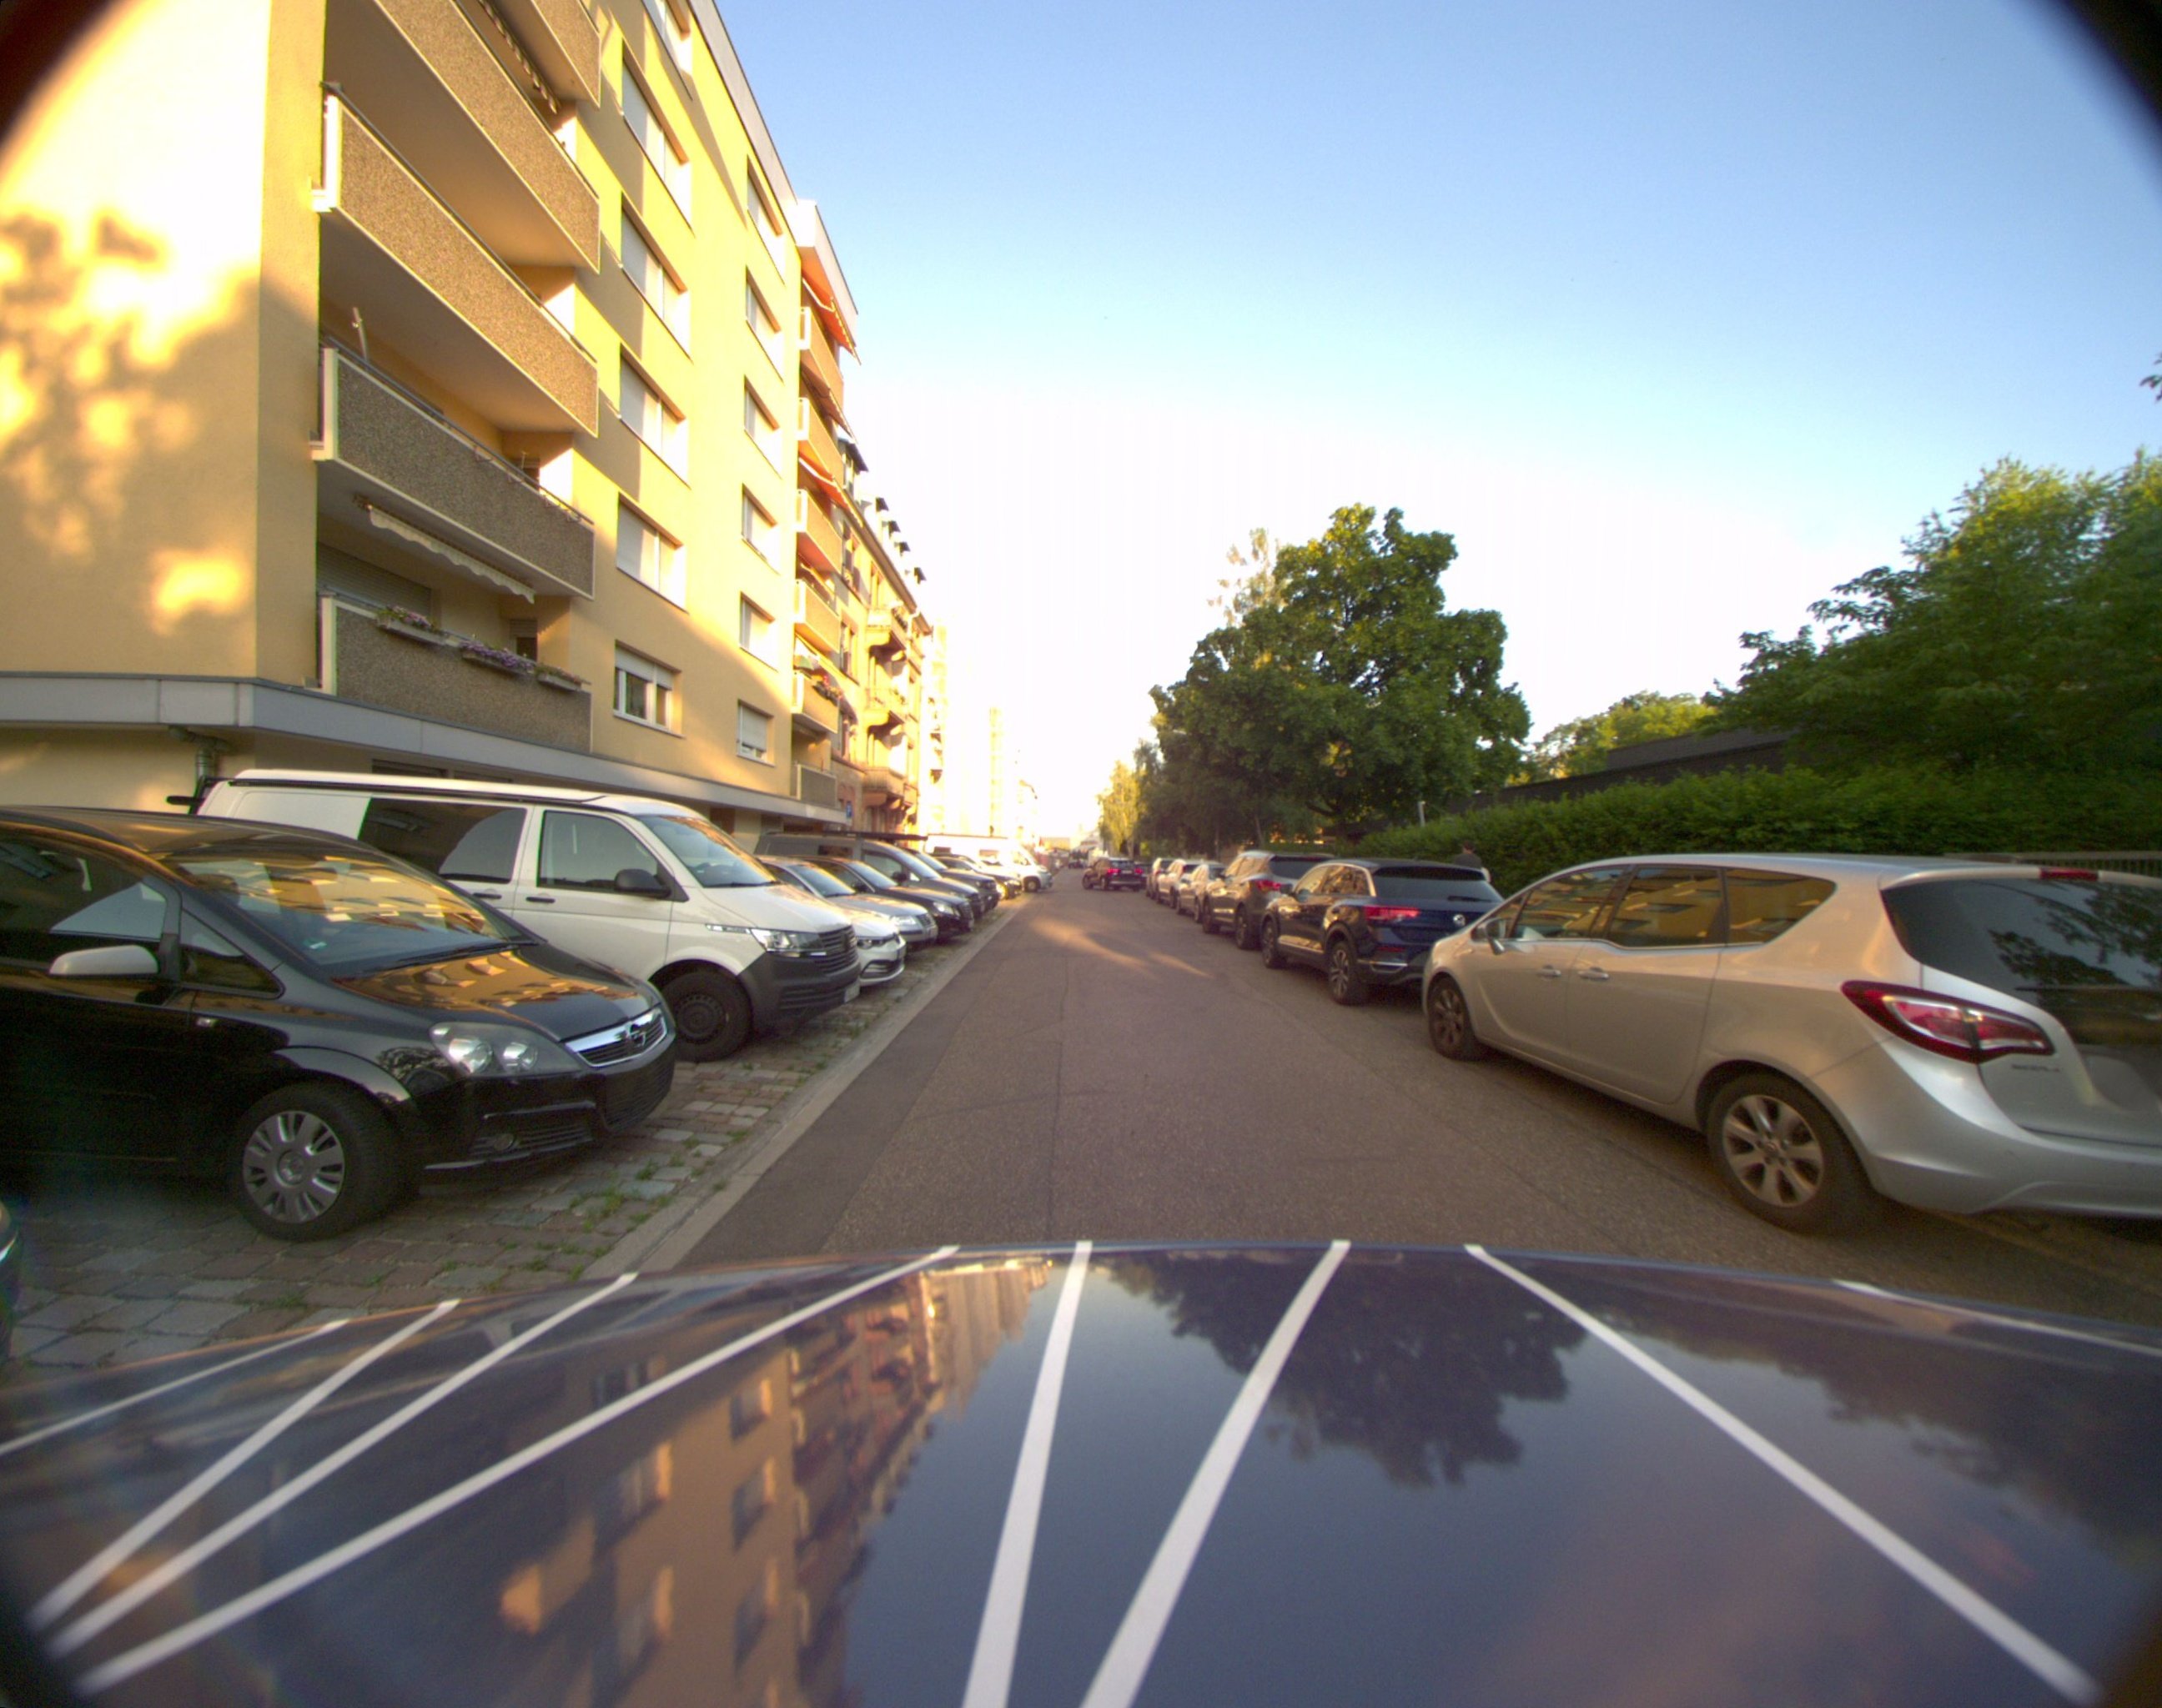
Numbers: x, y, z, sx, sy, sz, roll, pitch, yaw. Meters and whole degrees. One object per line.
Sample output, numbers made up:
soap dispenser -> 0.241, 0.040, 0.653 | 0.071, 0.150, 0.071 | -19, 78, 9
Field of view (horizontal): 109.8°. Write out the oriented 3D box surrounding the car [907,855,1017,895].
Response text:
car -> -5.083, 0.871, 32.758 | 4.414, 1.610, 1.845 | 0, 2, 1

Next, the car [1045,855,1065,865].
car -> -5.190, 1.132, 150.748 | 3.997, 2.002, 2.000 | 0, 0, -1

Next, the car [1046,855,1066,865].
car -> -5.033, 1.126, 153.176 | 3.997, 2.002, 2.000 | 0, 0, -1

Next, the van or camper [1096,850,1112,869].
van or camper -> 3.111, 0.730, 101.501 | 1.825, 2.400, 4.291 | 2, 0, -1

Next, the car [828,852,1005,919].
car -> -4.451, 0.825, 20.954 | 4.414, 1.545, 1.845 | 2, 2, 2

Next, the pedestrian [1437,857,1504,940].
pedestrian -> 7.364, 0.820, 14.401 | 0.750, 1.499, 0.901 | -2, 0, -2

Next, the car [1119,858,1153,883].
car -> 3.354, 1.011, 47.053 | 1.738, 1.438, 3.805 | 2, 0, 0

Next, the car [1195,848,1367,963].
car -> 3.425, 0.807, 13.891 | 1.738, 1.720, 4.322 | 2, 0, -3

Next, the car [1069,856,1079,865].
car -> -1.218, 1.150, 133.154 | 1.738, 1.502, 4.291 | 2, 0, -1

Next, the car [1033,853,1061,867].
car -> -4.852, 0.891, 109.820 | 3.997, 2.002, 2.000 | 0, 0, -1

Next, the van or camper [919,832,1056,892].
van or camper -> -4.269, 0.350, 35.617 | 6.075, 2.489, 2.050 | 2, 0, 0

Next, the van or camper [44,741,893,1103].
van or camper -> -4.428, 0.490, 6.263 | 5.147, 2.155, 2.039 | 4, 1, -2

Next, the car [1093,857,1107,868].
car -> 2.748, 1.237, 110.982 | 1.738, 1.502, 4.291 | 2, 0, -1

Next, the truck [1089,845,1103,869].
truck -> 2.560, 0.479, 128.923 | 2.183, 3.860, 4.926 | 0, 0, 0

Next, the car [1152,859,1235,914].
car -> 3.496, 0.972, 24.451 | 1.764, 1.534, 4.279 | 2, 0, -3

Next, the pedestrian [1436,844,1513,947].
pedestrian -> 6.903, 0.717, 13.367 | 0.901, 1.722, 0.750 | -2, 0, -2

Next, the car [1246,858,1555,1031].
car -> 3.434, 0.865, 9.155 | 1.738, 1.558, 4.166 | 2, 0, -3

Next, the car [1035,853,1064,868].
car -> -4.472, 0.894, 107.276 | 3.997, 2.002, 2.000 | 0, 0, -1

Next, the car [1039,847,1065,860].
car -> -4.594, -0.116, 121.477 | 3.997, 2.002, 2.000 | 0, 0, -1

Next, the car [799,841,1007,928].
car -> -4.152, 0.702, 18.282 | 4.524, 1.852, 1.845 | 2, 0, -1

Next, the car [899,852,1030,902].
car -> -4.175, 0.813, 27.661 | 4.414, 1.545, 1.845 | 2, 2, 0

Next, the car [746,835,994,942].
car -> -4.285, 0.669, 15.942 | 4.649, 1.970, 1.845 | 2, 2, -1

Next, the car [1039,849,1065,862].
car -> -4.477, 0.212, 118.325 | 3.997, 2.002, 2.000 | 0, 0, -1

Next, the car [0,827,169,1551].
car -> -4.626, 0.680, 1.017 | 4.416, 1.652, 1.844 | 3, 2, -3

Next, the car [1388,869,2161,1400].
car -> 3.611, 0.929, 4.433 | 1.738, 1.558, 4.128 | 2, 0, -3

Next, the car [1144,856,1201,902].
car -> 3.517, 0.917, 29.785 | 1.738, 1.621, 3.980 | 2, 0, 0

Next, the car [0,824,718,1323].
car -> -4.354, 0.787, 3.608 | 4.338, 1.652, 1.780 | 3, 2, -3

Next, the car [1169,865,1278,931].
car -> 3.533, 1.041, 19.593 | 1.738, 1.418, 4.286 | 2, 0, -3

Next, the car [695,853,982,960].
car -> -4.075, 0.864, 13.317 | 4.415, 1.554, 1.845 | 2, 2, -1

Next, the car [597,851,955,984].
car -> -4.196, 0.848, 11.008 | 4.415, 1.584, 1.845 | 2, 2, -1

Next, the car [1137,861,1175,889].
car -> 4.004, 1.104, 40.987 | 1.624, 1.417, 3.415 | 2, 0, 0

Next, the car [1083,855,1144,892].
car -> 1.534, 0.899, 36.953 | 1.740, 1.621, 4.119 | 2, 0, -15

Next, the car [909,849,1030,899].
car -> -4.370, 0.748, 30.231 | 4.413, 1.739, 1.845 | 2, 2, 3

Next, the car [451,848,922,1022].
car -> -4.248, 0.832, 8.724 | 4.415, 1.622, 1.845 | 2, 2, -1

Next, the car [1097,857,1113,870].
car -> 3.073, 1.211, 96.533 | 1.738, 1.502, 4.291 | 2, 0, -1
